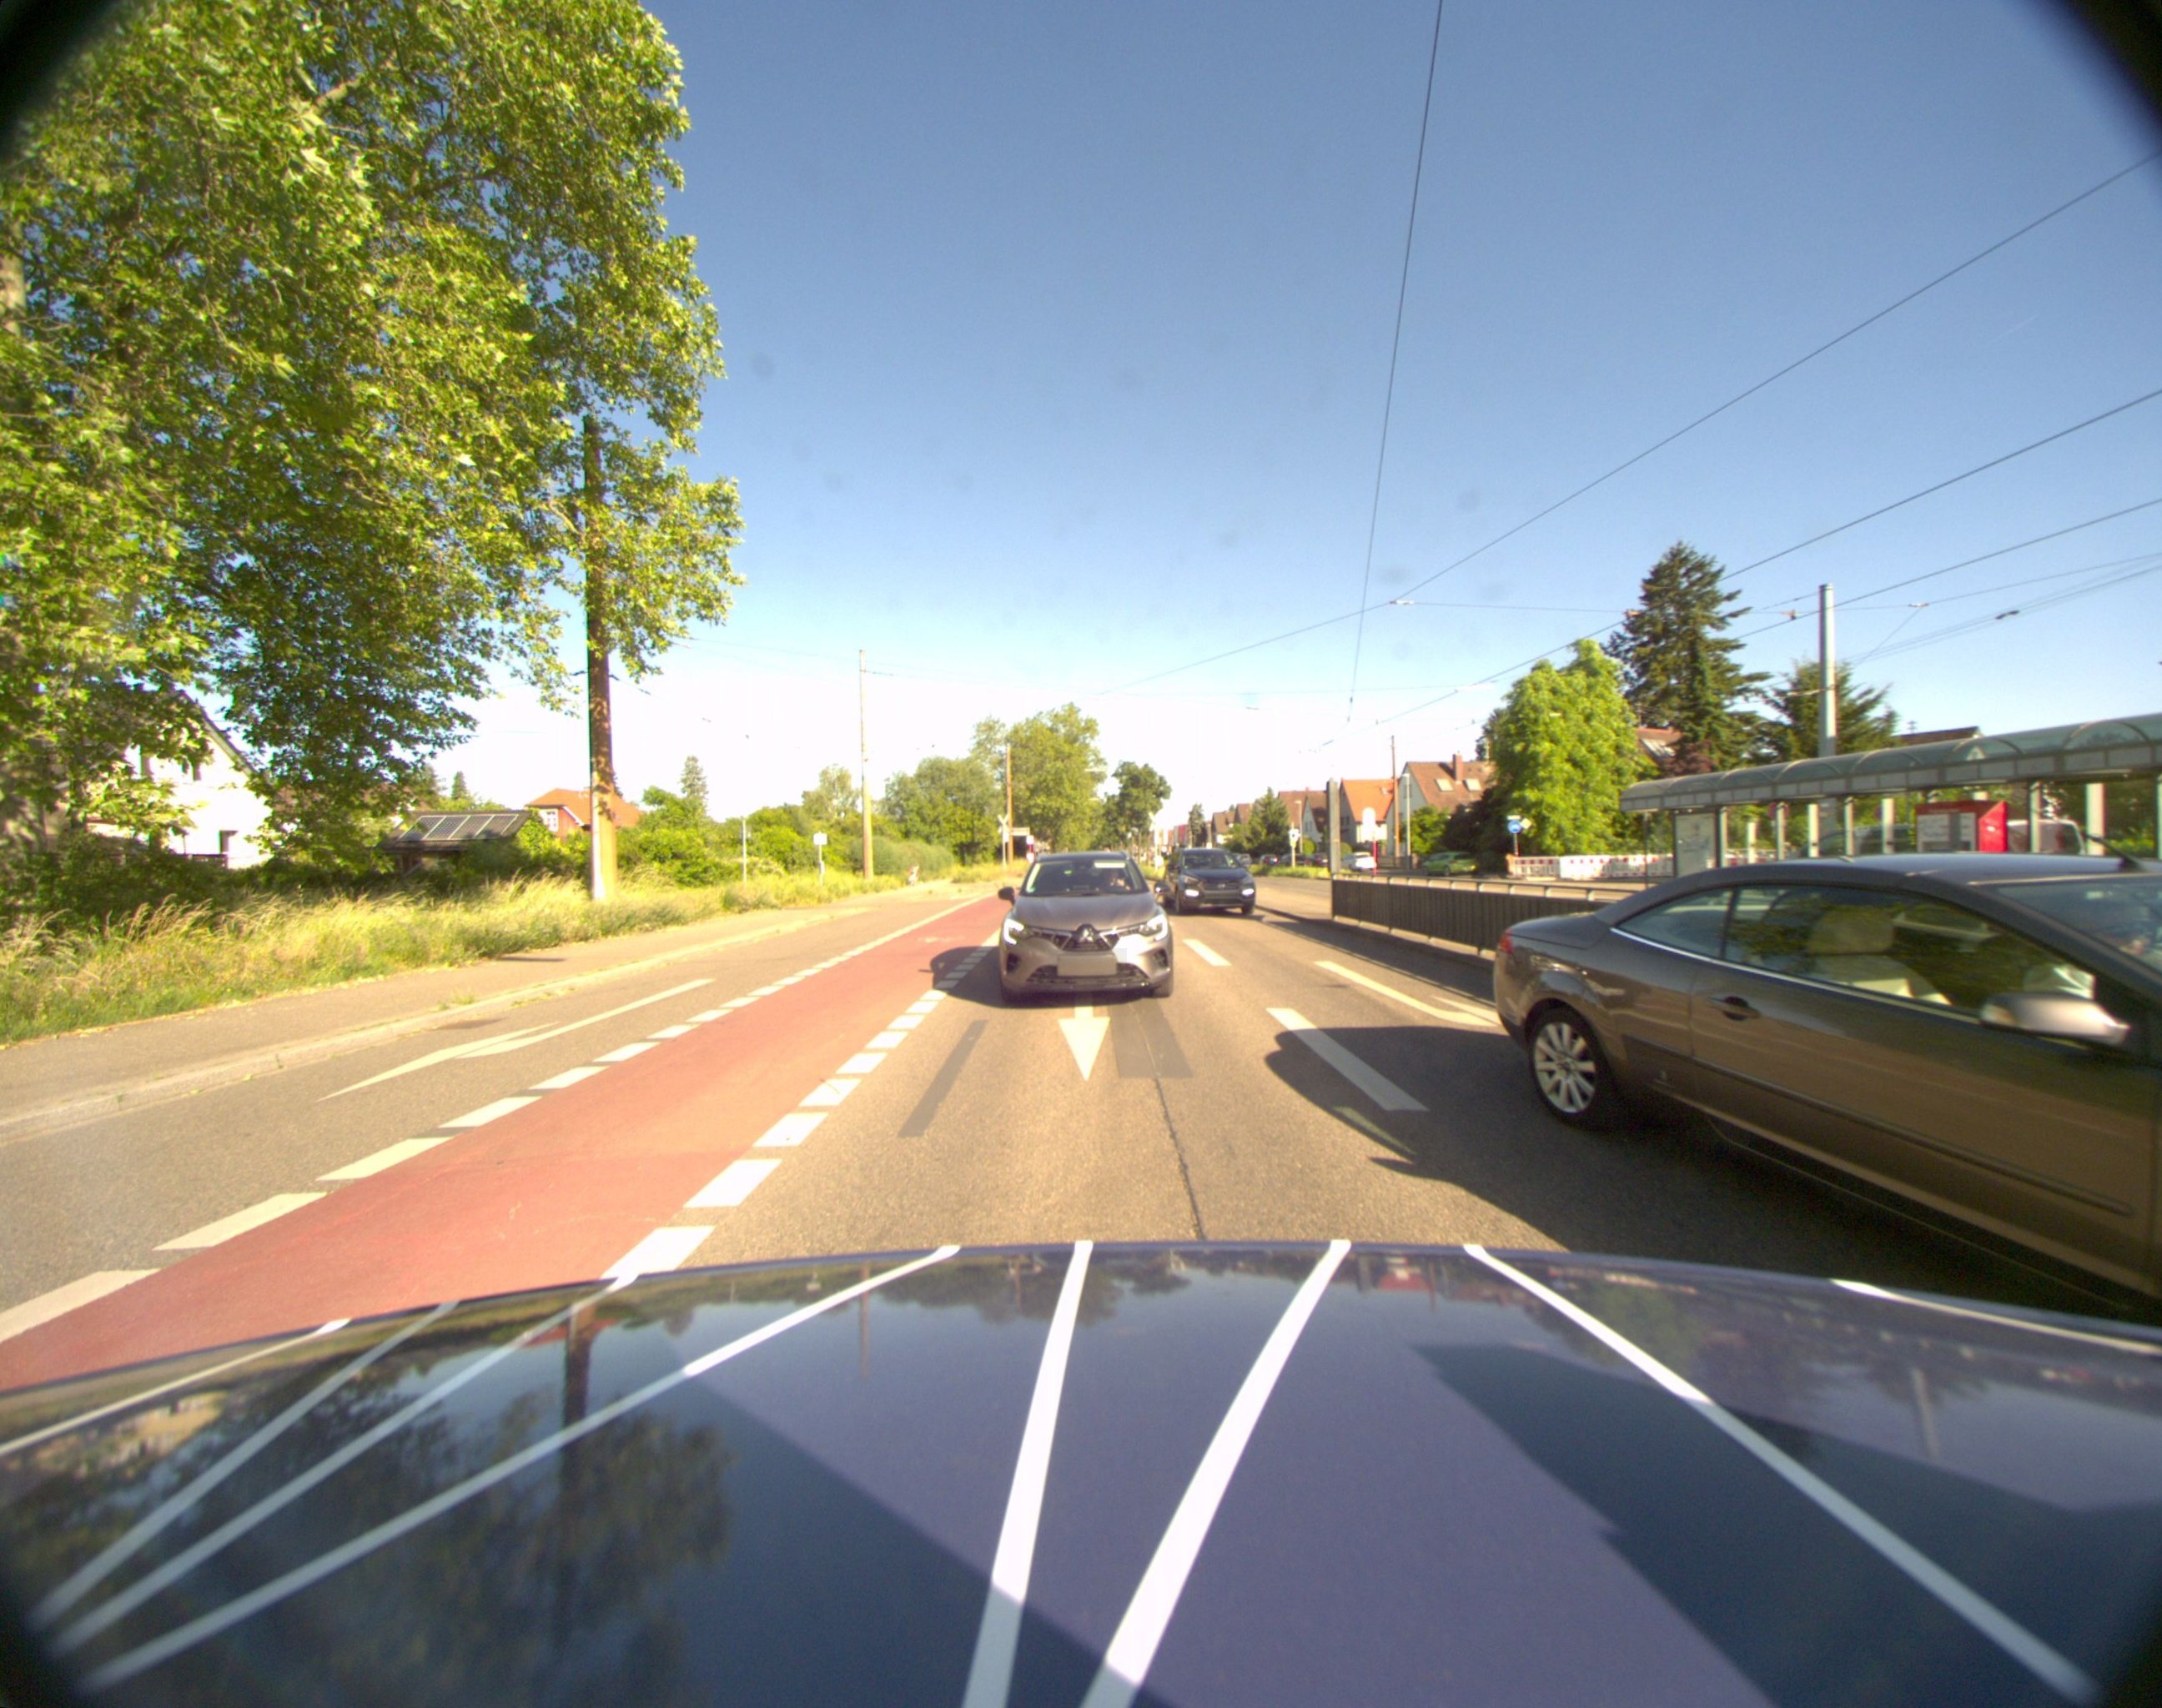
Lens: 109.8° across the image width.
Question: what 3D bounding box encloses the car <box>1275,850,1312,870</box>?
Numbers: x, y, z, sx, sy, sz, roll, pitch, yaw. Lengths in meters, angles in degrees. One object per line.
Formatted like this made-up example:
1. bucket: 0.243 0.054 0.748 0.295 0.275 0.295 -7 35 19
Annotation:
1. car: 16.885 0.477 60.476 1.740 1.511 4.344 -1 0 0

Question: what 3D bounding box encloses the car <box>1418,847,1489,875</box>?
1. car: 21.871 0.375 44.816 1.999 1.492 4.067 -3 1 -2

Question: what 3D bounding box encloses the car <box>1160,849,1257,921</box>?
1. car: 3.178 0.712 19.679 1.780 1.620 4.288 -1 0 0

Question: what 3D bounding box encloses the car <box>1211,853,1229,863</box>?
1. car: 21.796 0.611 119.218 1.998 1.333 4.982 -3 1 0

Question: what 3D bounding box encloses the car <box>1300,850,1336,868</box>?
1. car: 21.610 0.403 69.372 1.912 1.457 4.440 -3 1 0

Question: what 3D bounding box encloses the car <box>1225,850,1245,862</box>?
1. car: 21.790 0.260 107.401 1.888 1.552 4.536 -3 0 0

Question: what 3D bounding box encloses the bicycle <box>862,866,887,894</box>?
1. bicycle: -8.460 1.044 31.062 0.367 1.128 2.091 -1 0 -32

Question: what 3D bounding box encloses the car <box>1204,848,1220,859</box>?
1. car: 22.059 -0.106 127.950 1.998 1.852 4.584 -2 0 1

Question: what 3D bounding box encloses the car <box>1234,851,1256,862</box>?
1. car: 22.050 0.332 102.348 1.888 1.464 4.838 -3 0 1

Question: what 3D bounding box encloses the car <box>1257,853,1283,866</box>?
1. car: 21.887 0.600 88.245 1.998 1.363 4.310 -2 0 1

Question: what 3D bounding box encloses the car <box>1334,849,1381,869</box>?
1. car: 21.707 0.368 59.786 1.888 1.464 4.613 -3 1 -1

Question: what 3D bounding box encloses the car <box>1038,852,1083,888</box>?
1. car: -0.939 0.749 37.193 1.770 1.621 4.499 -1 0 4

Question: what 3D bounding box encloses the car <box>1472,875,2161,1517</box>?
1. car: 3.447 0.863 2.650 1.780 1.441 4.333 -1 0 -3

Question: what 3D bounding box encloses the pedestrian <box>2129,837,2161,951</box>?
1. pedestrian: 14.219 0.502 9.415 1.063 1.444 1.007 -1 1 0

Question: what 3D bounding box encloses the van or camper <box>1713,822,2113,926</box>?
1. van or camper: 17.098 0.398 16.334 1.999 1.817 5.988 -1 -1 0

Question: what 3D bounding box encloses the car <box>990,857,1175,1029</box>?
1. car: 0.000 0.834 8.832 1.673 1.529 3.586 -2 0 -1
